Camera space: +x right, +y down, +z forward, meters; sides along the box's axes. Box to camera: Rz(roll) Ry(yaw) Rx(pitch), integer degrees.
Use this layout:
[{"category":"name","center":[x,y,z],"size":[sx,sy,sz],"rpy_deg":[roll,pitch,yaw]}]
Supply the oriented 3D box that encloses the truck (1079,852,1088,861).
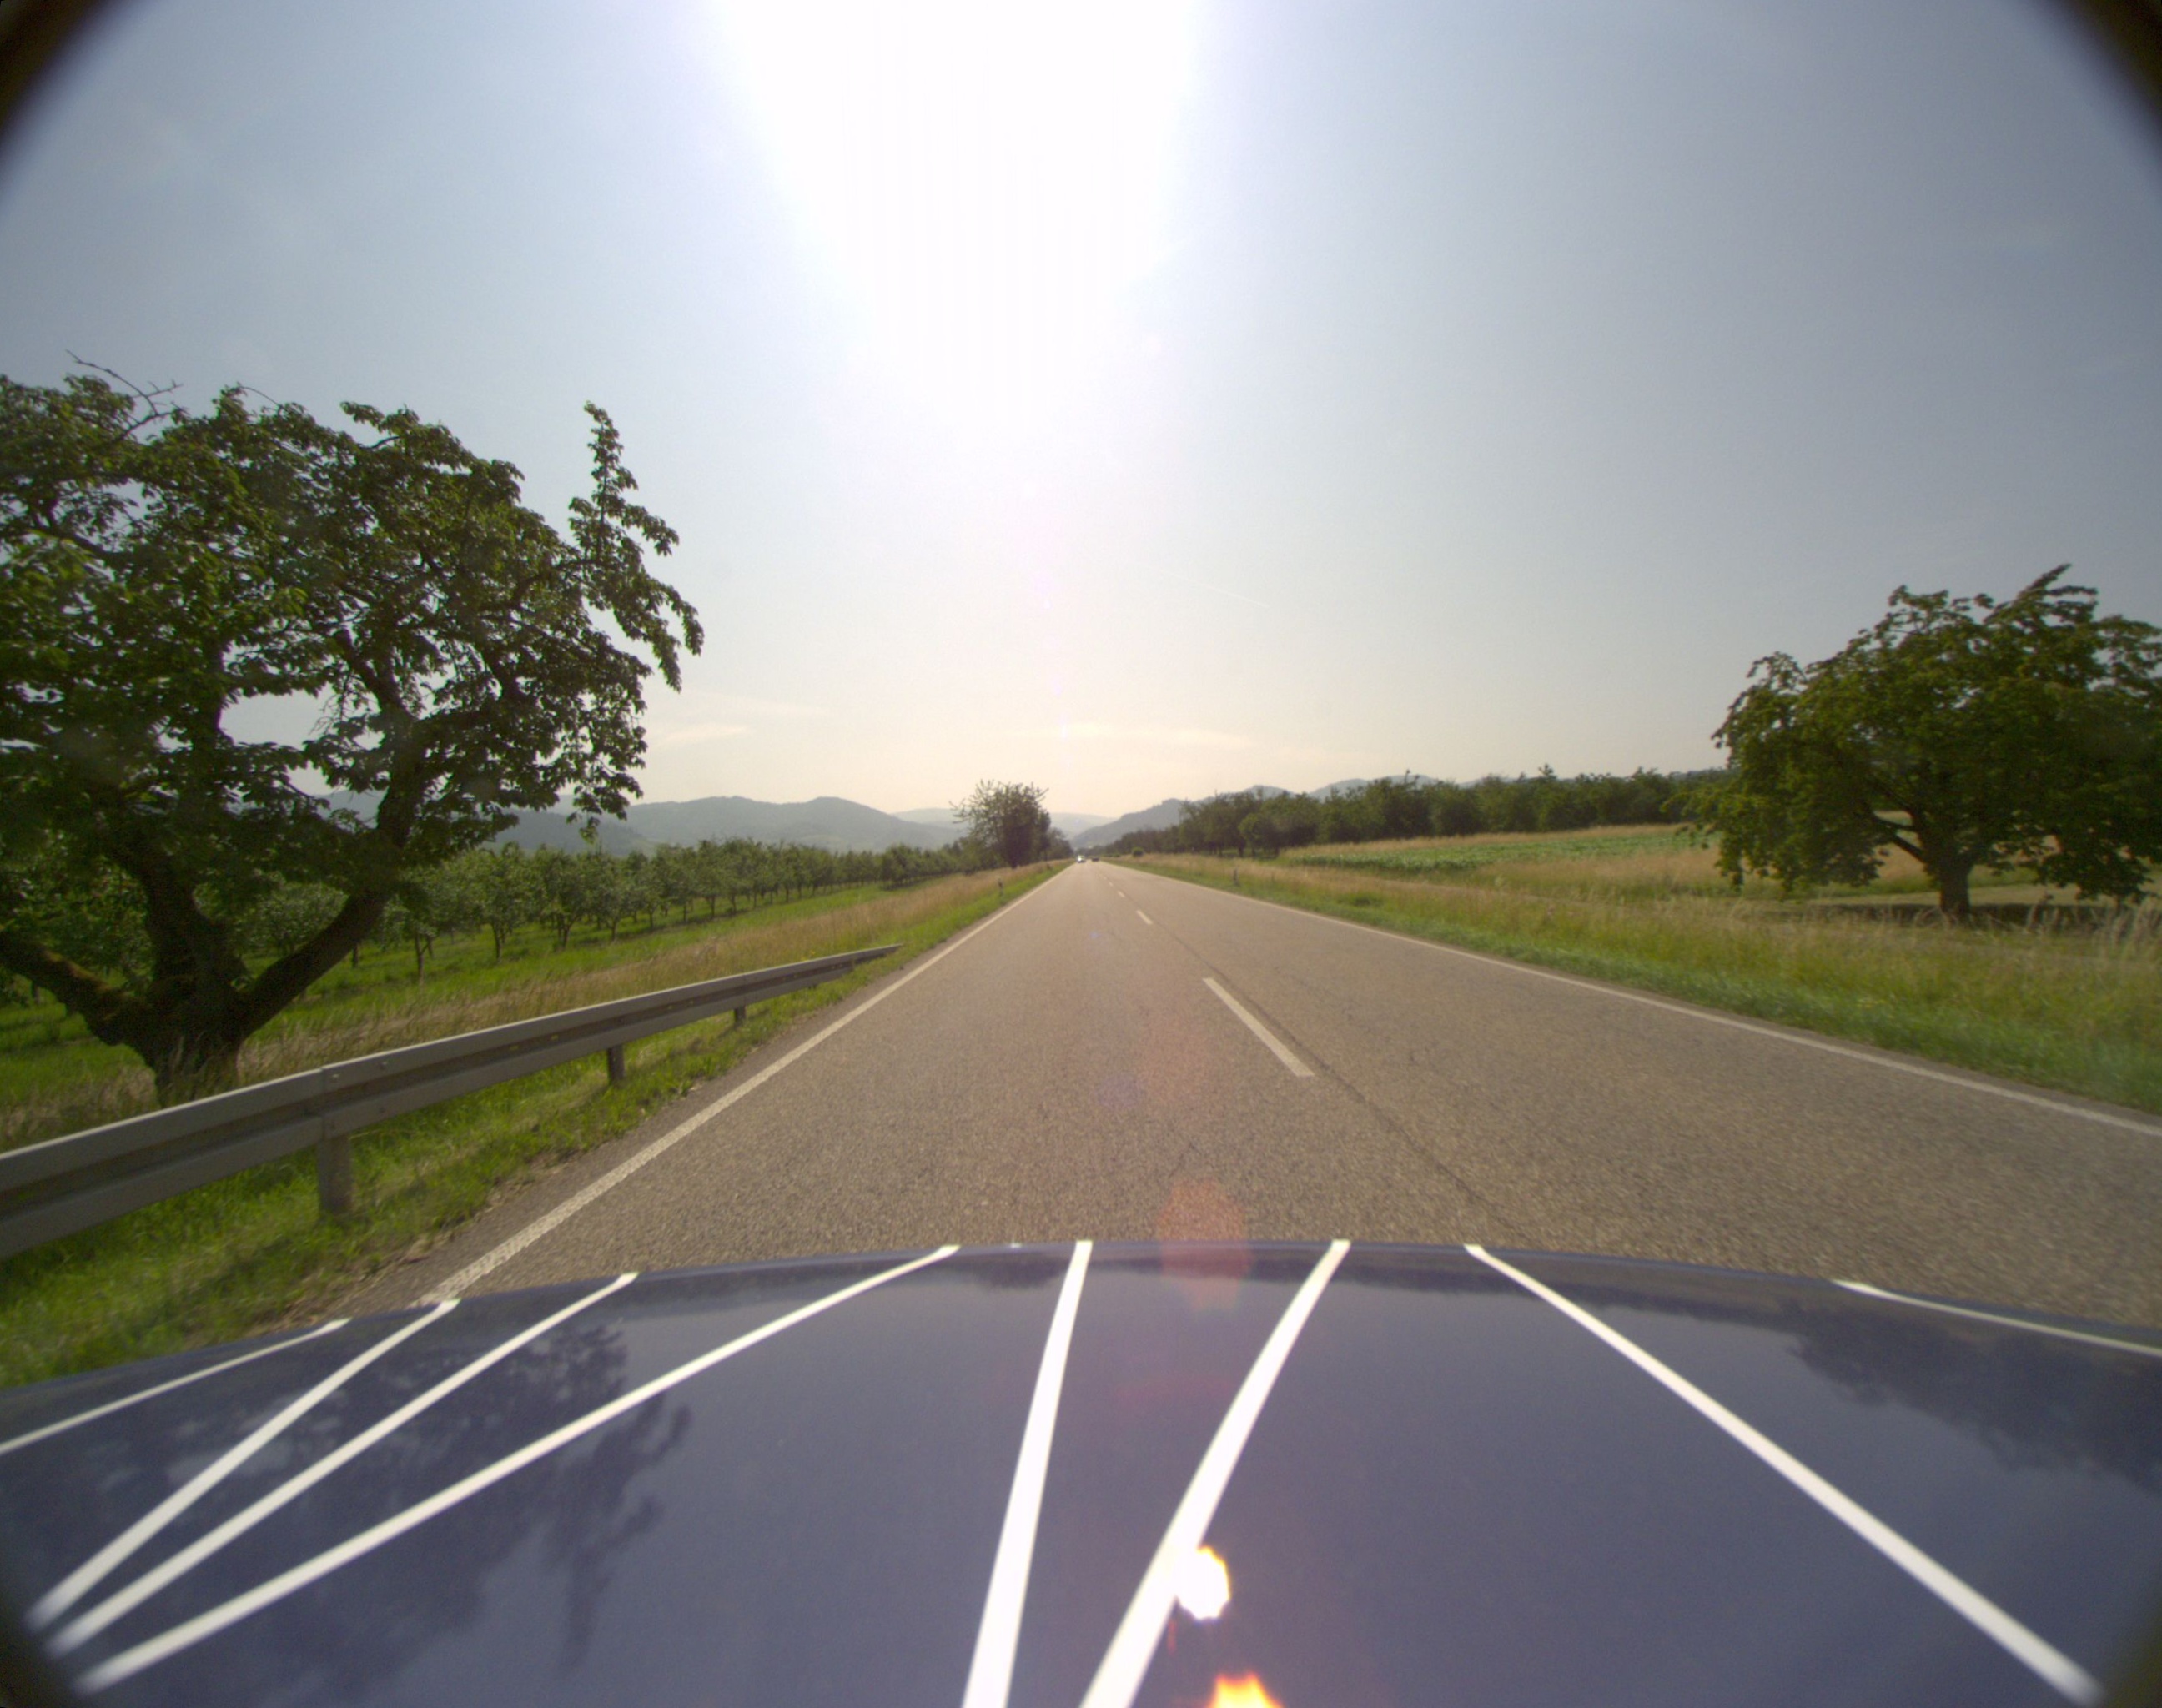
[{"category":"truck","center":[0.682,0.744,207.515],"size":[2.031,2.232,4.765],"rpy_deg":[-2,1,3]}]
